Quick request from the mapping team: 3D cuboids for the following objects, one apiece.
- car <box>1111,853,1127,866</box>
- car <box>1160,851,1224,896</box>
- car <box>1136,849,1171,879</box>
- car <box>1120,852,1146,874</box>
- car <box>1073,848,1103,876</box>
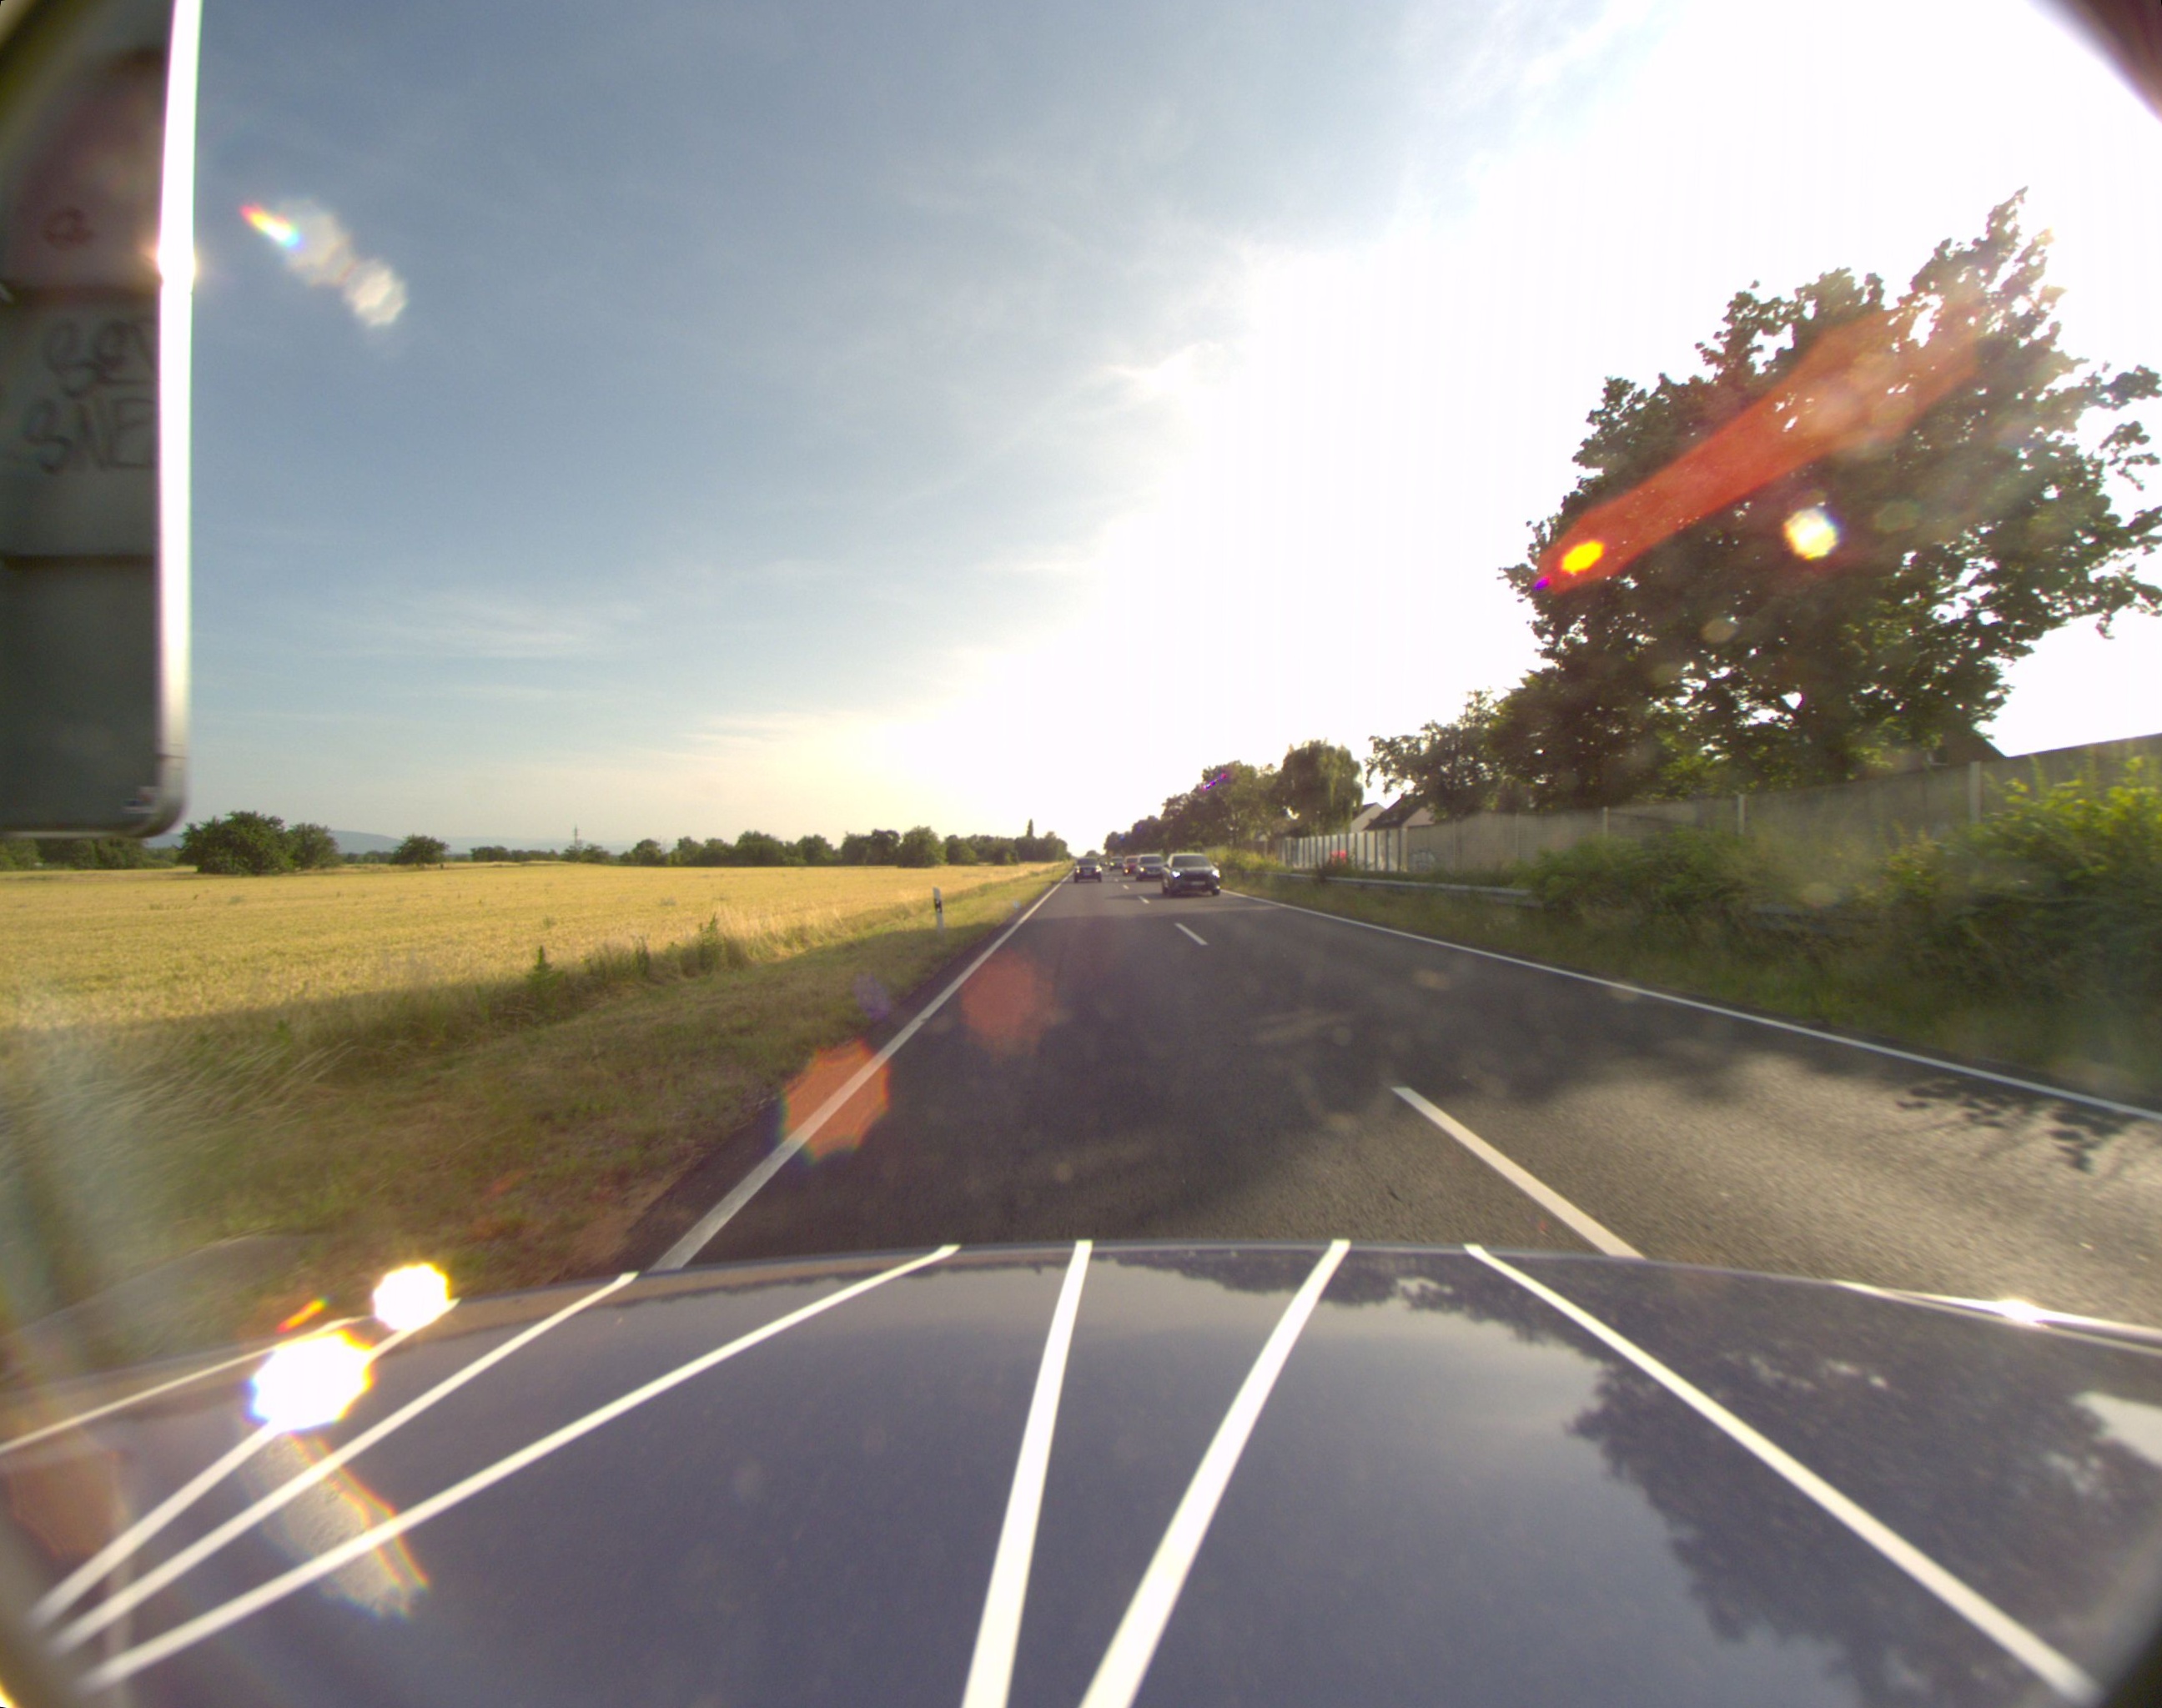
[{"bbox_3d":[4.699,0.624,94.205,1.700,1.456,3.646,-2,1,0],"label":"car"},{"bbox_3d":[4.208,0.702,29.440,1.822,1.516,4.246,-2,1,1],"label":"car"},{"bbox_3d":[4.508,0.585,47.953,1.822,1.724,4.000,-2,1,1],"label":"car"},{"bbox_3d":[4.276,0.701,63.155,1.822,1.661,3.999,-2,1,0],"label":"car"},{"bbox_3d":[0.415,0.504,49.269,1.822,1.661,3.999,-2,1,0],"label":"car"}]
